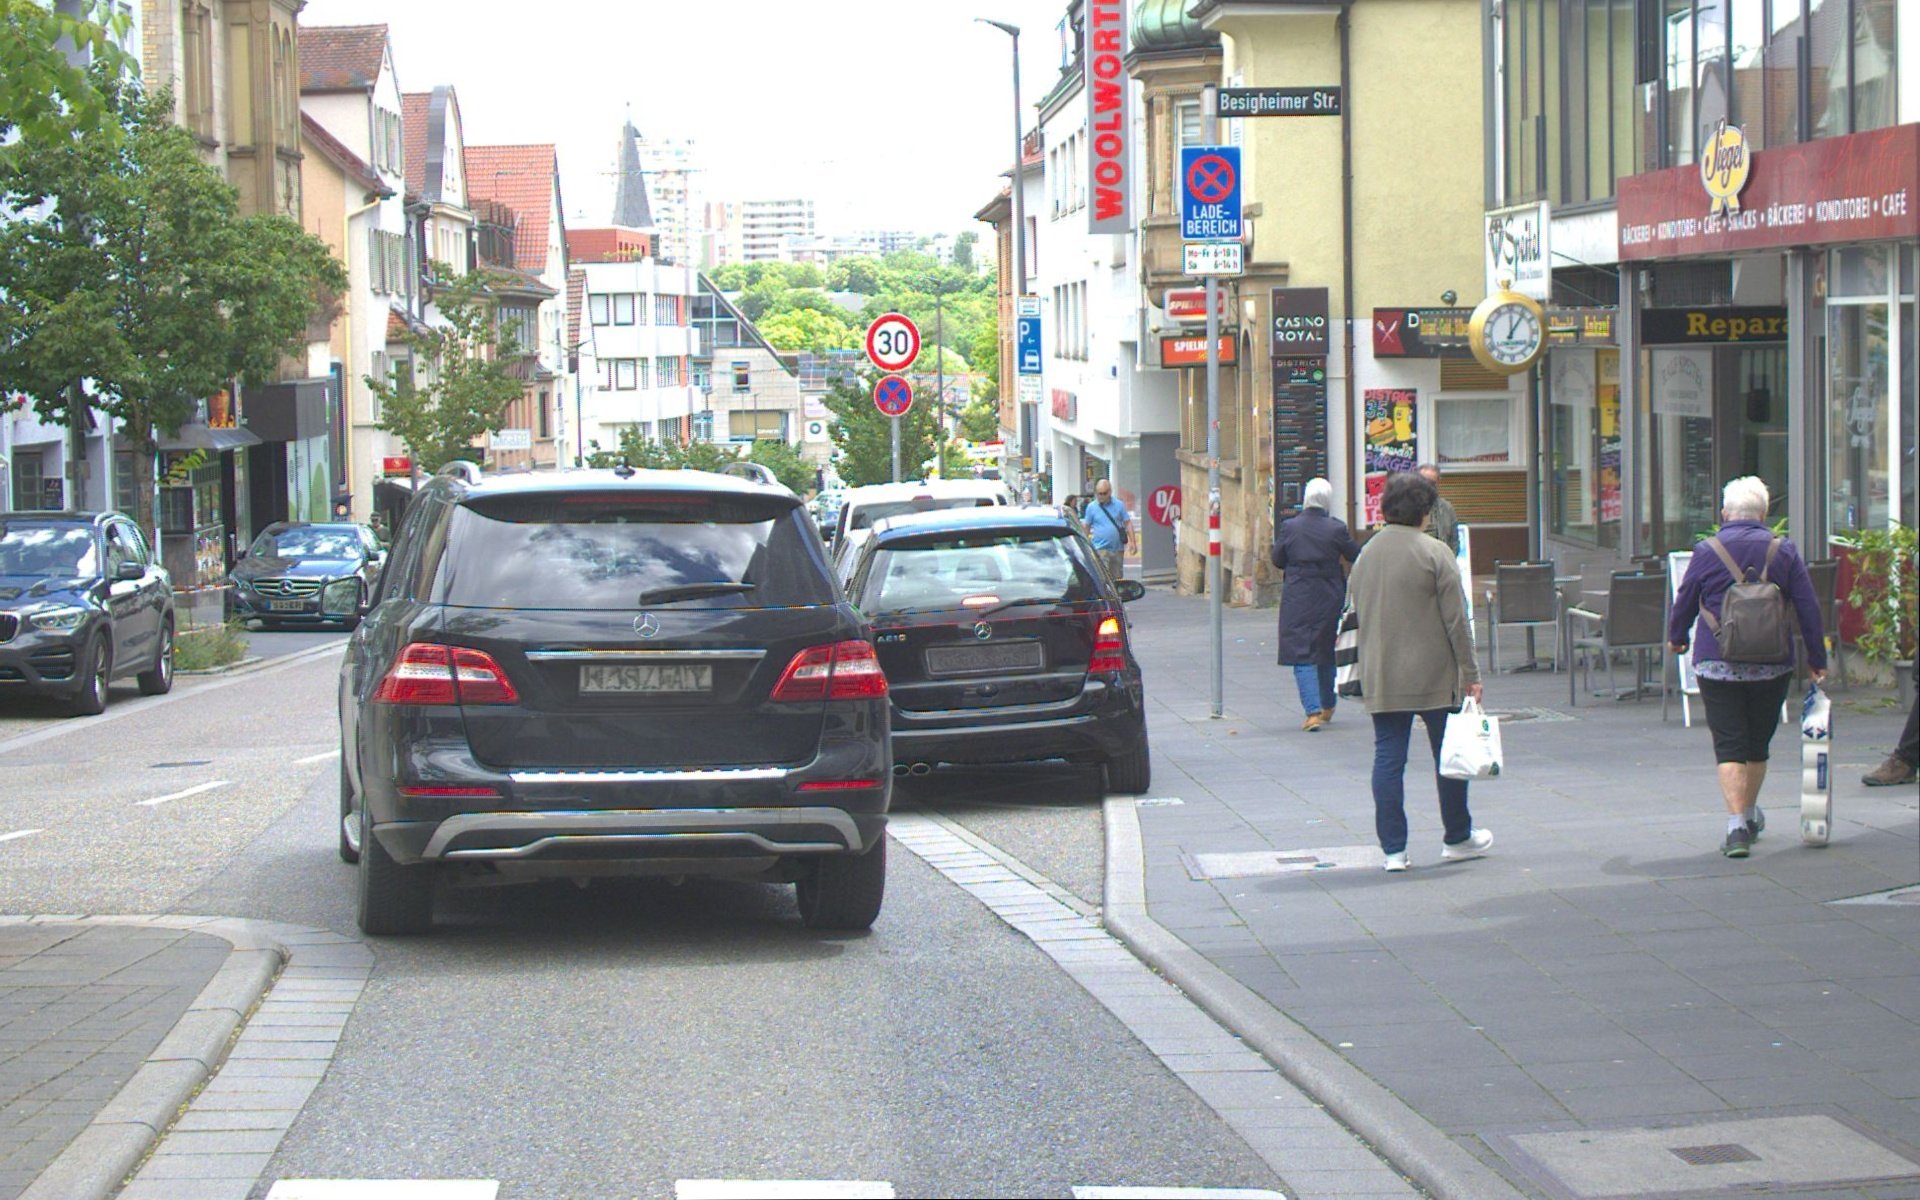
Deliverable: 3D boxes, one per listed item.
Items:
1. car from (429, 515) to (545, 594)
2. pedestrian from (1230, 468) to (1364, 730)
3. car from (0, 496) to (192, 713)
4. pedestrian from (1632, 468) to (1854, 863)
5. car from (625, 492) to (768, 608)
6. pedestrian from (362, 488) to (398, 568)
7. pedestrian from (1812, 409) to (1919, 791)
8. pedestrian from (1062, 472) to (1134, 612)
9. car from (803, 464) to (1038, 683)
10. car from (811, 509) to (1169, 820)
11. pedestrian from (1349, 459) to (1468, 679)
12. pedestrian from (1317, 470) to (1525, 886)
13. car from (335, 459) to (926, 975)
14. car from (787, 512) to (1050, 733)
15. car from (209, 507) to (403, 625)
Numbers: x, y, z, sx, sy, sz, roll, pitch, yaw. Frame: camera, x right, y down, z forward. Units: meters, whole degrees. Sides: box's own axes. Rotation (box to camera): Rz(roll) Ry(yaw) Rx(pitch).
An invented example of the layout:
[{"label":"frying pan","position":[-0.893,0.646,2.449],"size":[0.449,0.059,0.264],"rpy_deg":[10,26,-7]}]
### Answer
[{"label":"car","position":[-9.583,-0.949,69.909],"size":[1.926,1.506,4.263],"rpy_deg":[1,2,-3]},{"label":"pedestrian","position":[2.188,-0.014,22.382],"size":[0.824,1.660,0.802],"rpy_deg":[-1,1,5]},{"label":"car","position":[-8.134,-0.032,29.944],"size":[2.006,1.687,4.608],"rpy_deg":[0,2,-2]},{"label":"pedestrian","position":[3.138,0.245,13.839],"size":[0.724,1.526,0.808],"rpy_deg":[-2,1,5]},{"label":"car","position":[-3.670,-0.734,48.341],"size":[1.785,1.535,3.745],"rpy_deg":[-1,2,-1]},{"label":"pedestrian","position":[-10.691,-1.333,63.358],"size":[0.491,1.458,0.559],"rpy_deg":[1,1,7]},{"label":"pedestrian","position":[4.551,-0.015,16.333],"size":[0.774,1.763,0.818],"rpy_deg":[-1,1,0]},{"label":"pedestrian","position":[1.728,-0.733,43.181],"size":[0.796,1.721,1.053],"rpy_deg":[-2,1,-1]},{"label":"car","position":[-0.276,-0.292,30.944],"size":[1.877,1.793,4.732],"rpy_deg":[-1,2,2]},{"label":"car","position":[0.121,0.281,19.714],"size":[1.803,1.550,3.954],"rpy_deg":[-2,2,-1]},{"label":"pedestrian","position":[3.553,-0.252,27.290],"size":[0.864,1.701,0.945],"rpy_deg":[-1,1,5]},{"label":"pedestrian","position":[1.876,0.300,14.092],"size":[0.772,1.639,0.870],"rpy_deg":[-1,1,5]},{"label":"car","position":[-1.481,0.331,13.774],"size":[1.943,1.734,4.180],"rpy_deg":[0,2,-11]},{"label":"car","position":[-0.383,0.104,25.830],"size":[1.702,1.462,4.001],"rpy_deg":[-2,2,-4]},{"label":"car","position":[-8.889,-0.503,47.069],"size":[1.926,1.487,4.843],"rpy_deg":[1,2,-3]}]
